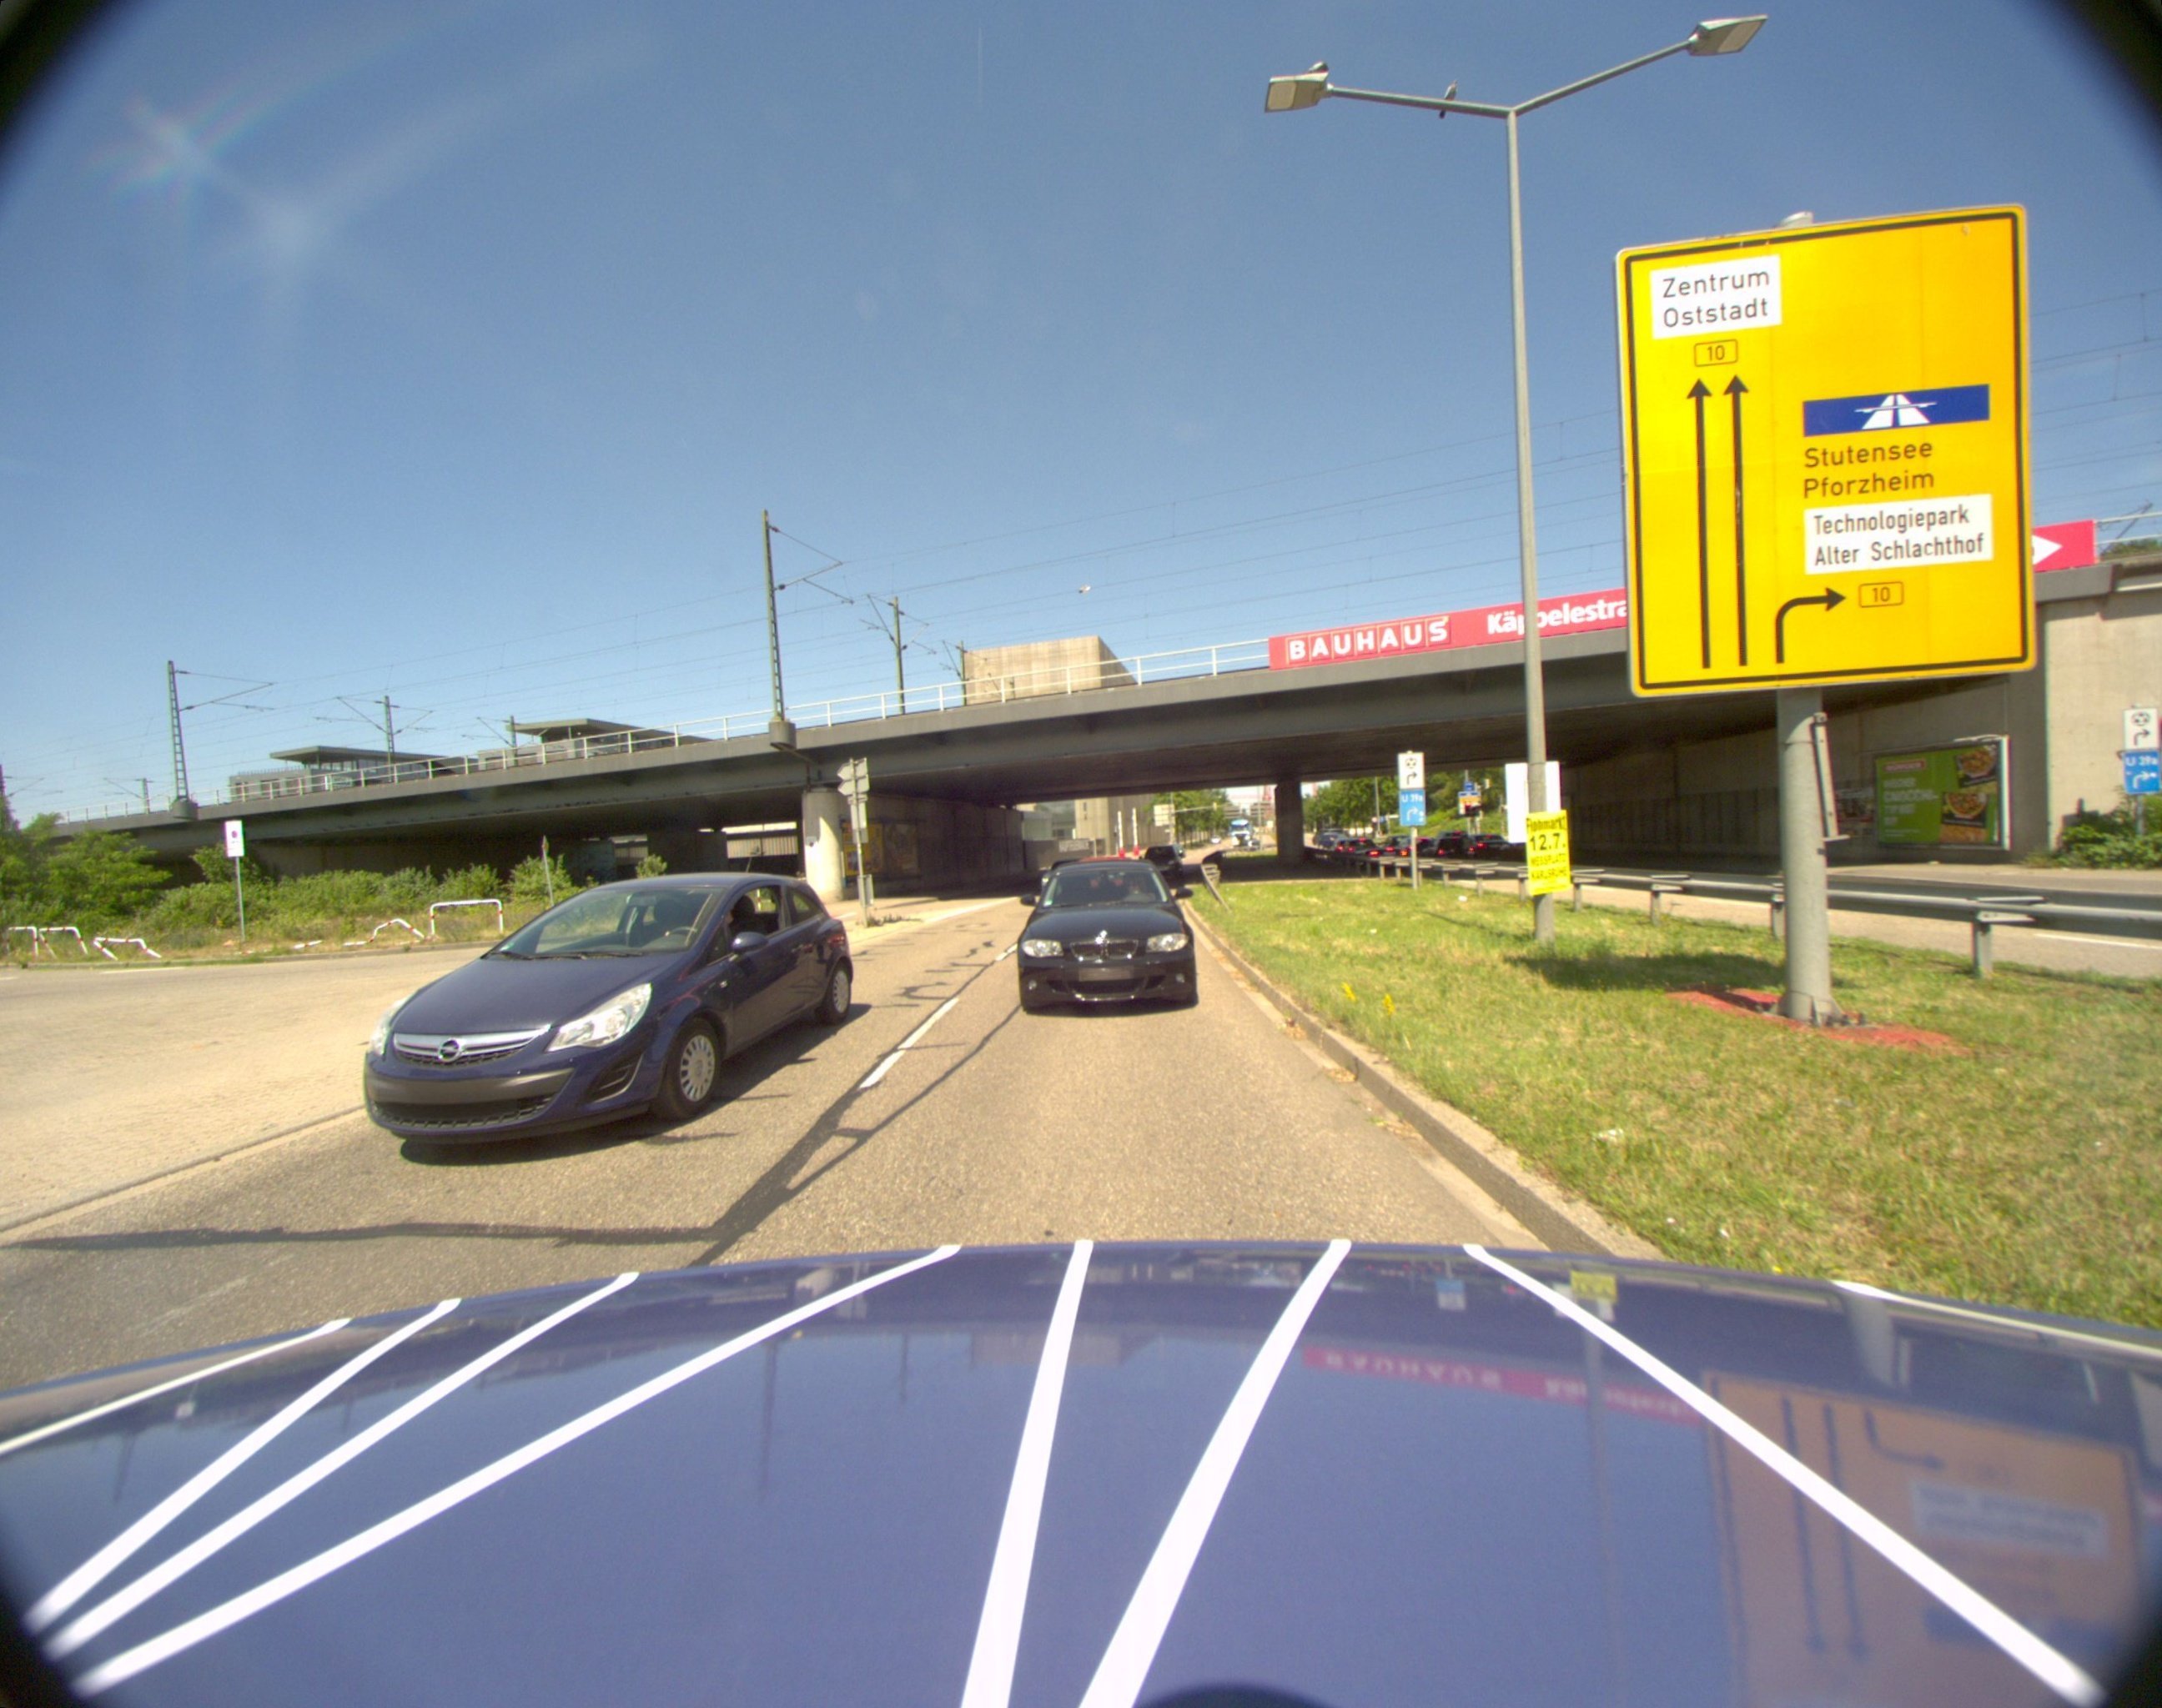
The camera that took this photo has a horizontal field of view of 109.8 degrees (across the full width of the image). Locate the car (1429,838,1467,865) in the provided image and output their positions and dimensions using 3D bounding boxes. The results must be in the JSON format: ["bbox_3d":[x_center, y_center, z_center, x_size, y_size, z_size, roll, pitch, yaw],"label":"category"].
[{"bbox_3d":[17.293,-0.137,35.878,1.269,1.178,2.781,-2,1,19],"label":"car"}]

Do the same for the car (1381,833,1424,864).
[{"bbox_3d":[20.434,-0.375,48.433,1.905,1.849,4.004,-2,1,15],"label":"car"}]

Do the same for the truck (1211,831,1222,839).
[{"bbox_3d":[25.566,-3.592,142.782,1.729,1.493,4.003,-2,1,14],"label":"truck"}]

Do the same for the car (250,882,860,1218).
[{"bbox_3d":[-3.114,1.022,5.611,1.650,1.435,3.891,-2,0,2],"label":"car"}]

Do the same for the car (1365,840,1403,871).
[{"bbox_3d":[13.932,0.045,35.060,1.410,1.311,3.265,-2,1,18],"label":"car"}]

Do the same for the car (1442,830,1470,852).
[{"bbox_3d":[23.166,-0.803,46.952,1.184,1.241,2.695,-2,1,19],"label":"car"}]

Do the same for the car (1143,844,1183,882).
[{"bbox_3d":[4.081,0.411,38.037,1.845,1.686,3.700,-2,1,6],"label":"car"}]

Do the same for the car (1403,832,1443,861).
[{"bbox_3d":[18.660,-0.430,41.570,1.617,1.468,3.437,-2,1,19],"label":"car"}]

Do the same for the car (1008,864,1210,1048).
[{"bbox_3d":[0.169,0.894,8.519,1.682,1.409,4.055,-2,1,-2],"label":"car"}]

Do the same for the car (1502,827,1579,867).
[{"bbox_3d":[20.715,-0.336,34.453,1.774,1.658,4.018,-2,1,13],"label":"car"}]

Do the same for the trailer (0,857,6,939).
[{"bbox_3d":[-54.234,2.274,33.312,2.582,4.100,10.031,-3,1,-18],"label":"trailer"}]

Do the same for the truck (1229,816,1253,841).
[{"bbox_3d":[23.038,-3.643,108.933,3.017,3.398,6.572,-2,1,14],"label":"truck"}]

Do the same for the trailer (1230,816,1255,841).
[{"bbox_3d":[24.604,-3.794,115.134,2.960,3.354,13.906,-2,1,14],"label":"trailer"}]

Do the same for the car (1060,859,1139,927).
[{"bbox_3d":[0.492,0.833,18.059,1.646,1.390,4.053,-1,0,3],"label":"car"}]

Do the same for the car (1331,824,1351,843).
[{"bbox_3d":[29.869,-2.322,87.413,1.996,2.002,4.004,-2,1,16],"label":"car"}]

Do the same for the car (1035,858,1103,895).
[{"bbox_3d":[-0.418,0.896,31.780,1.760,1.435,4.057,-1,0,15],"label":"car"}]

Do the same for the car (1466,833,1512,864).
[{"bbox_3d":[21.600,-0.313,40.326,1.572,1.494,3.411,-2,1,19],"label":"car"}]
